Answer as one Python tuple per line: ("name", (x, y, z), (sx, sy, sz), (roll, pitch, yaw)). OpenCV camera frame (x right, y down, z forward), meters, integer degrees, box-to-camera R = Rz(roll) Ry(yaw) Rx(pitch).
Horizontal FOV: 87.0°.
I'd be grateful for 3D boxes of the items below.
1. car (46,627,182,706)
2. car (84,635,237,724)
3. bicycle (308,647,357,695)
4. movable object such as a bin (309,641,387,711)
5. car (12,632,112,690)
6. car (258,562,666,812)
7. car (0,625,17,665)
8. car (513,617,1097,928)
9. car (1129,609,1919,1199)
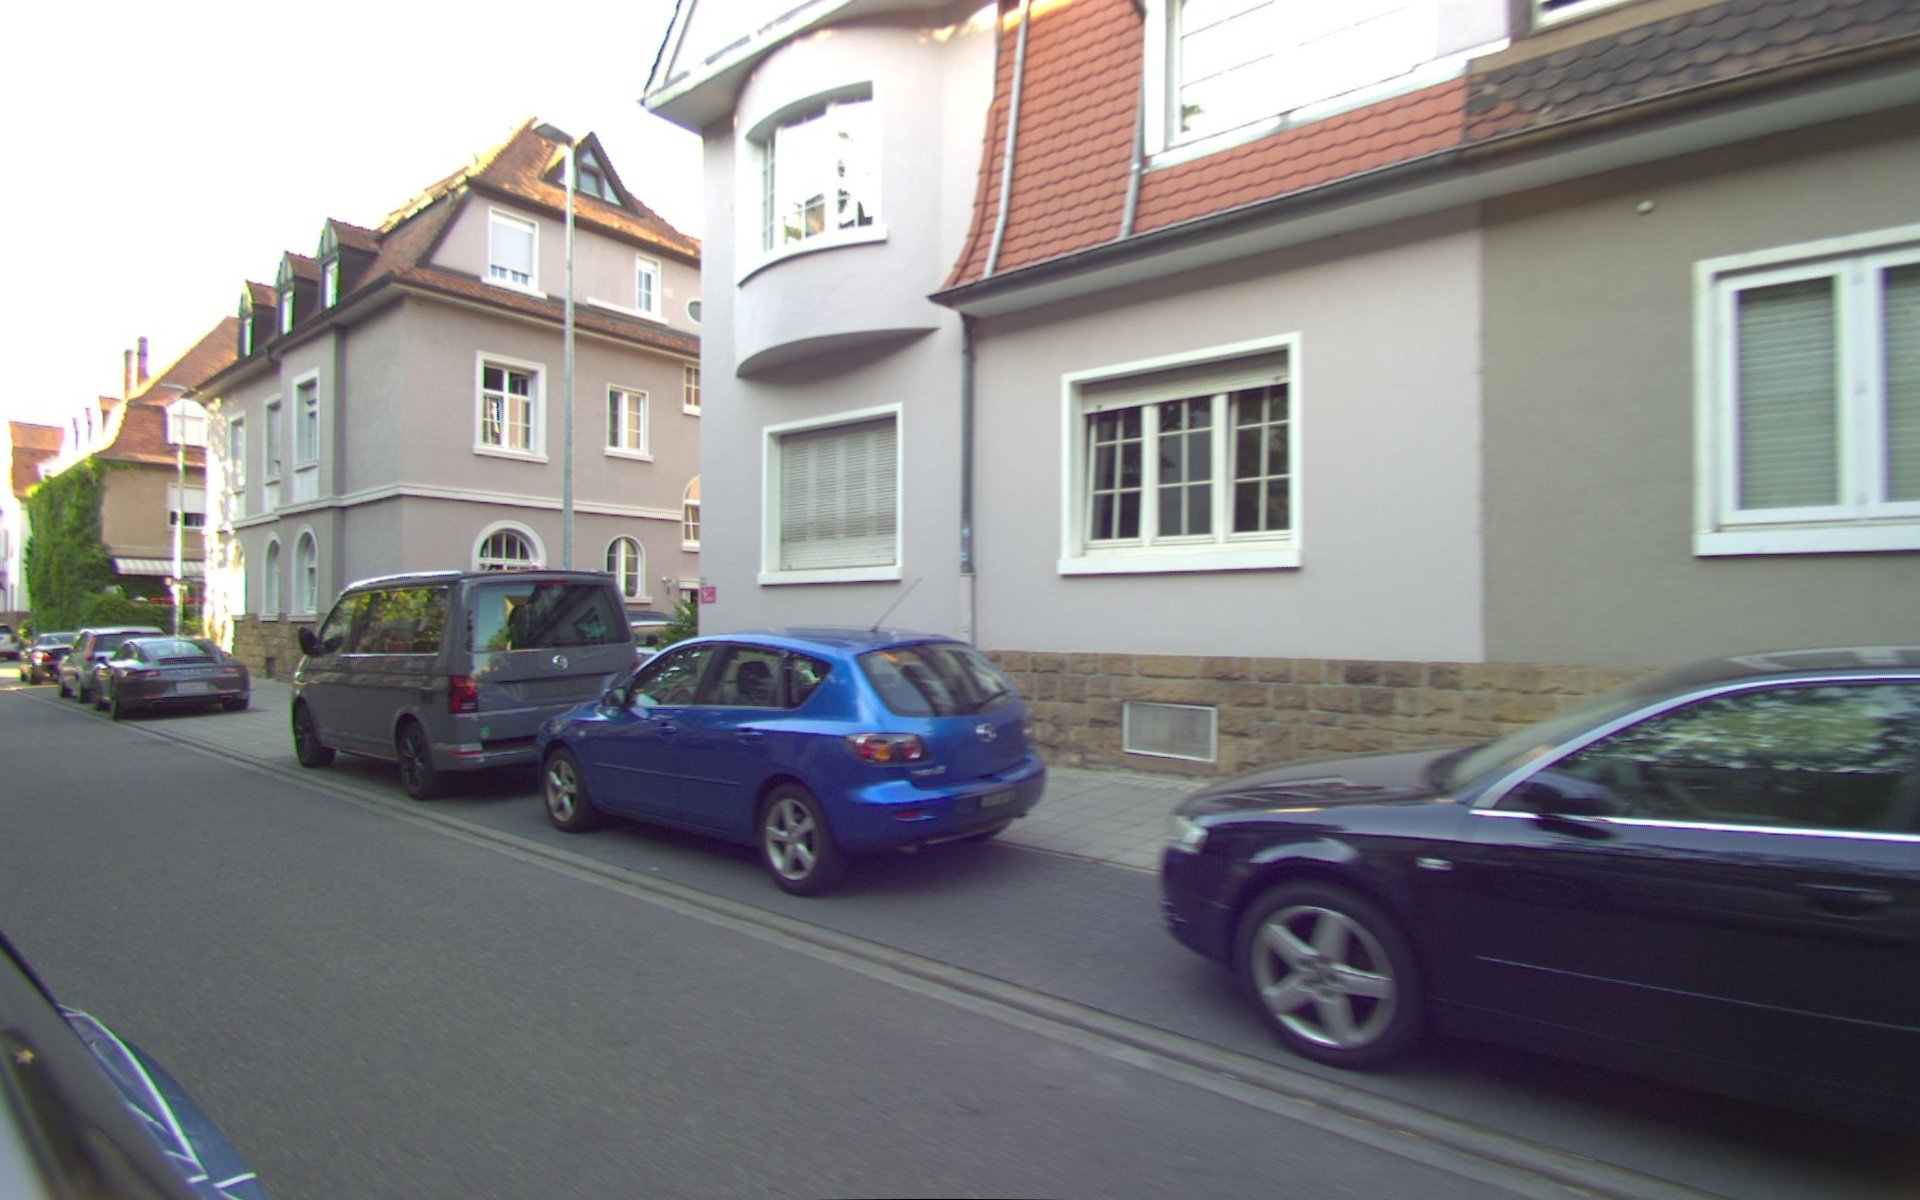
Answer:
("car", (-17.735, 1.320, 21.166), (3.959, 1.456, 1.636), (-2, -1, 42))
("car", (-13.929, 1.297, 17.542), (4.227, 1.329, 1.514), (-2, -2, 44))
("bicycle", (-13.249, 1.484, 21.361), (1.721, 0.944, 0.389), (-2, -2, 41))
("movable object such as a bin", (-12.001, 1.456, 19.817), (2.095, 1.293, 0.714), (-2, -2, 41))
("car", (-23.871, 1.571, 26.866), (4.046, 1.334, 1.635), (-1, 0, 43))
("car", (-5.234, 0.731, 10.296), (4.848, 1.962, 1.962), (-2, -1, 40))
("car", (-37.265, 1.729, 38.518), (3.917, 1.471, 1.686), (-2, -1, 42))
("car", (-1.299, 0.886, 6.922), (4.236, 1.458, 1.636), (-2, 0, 42))
("car", (2.837, 0.770, 3.065), (4.355, 1.458, 1.677), (-2, -1, 41))
